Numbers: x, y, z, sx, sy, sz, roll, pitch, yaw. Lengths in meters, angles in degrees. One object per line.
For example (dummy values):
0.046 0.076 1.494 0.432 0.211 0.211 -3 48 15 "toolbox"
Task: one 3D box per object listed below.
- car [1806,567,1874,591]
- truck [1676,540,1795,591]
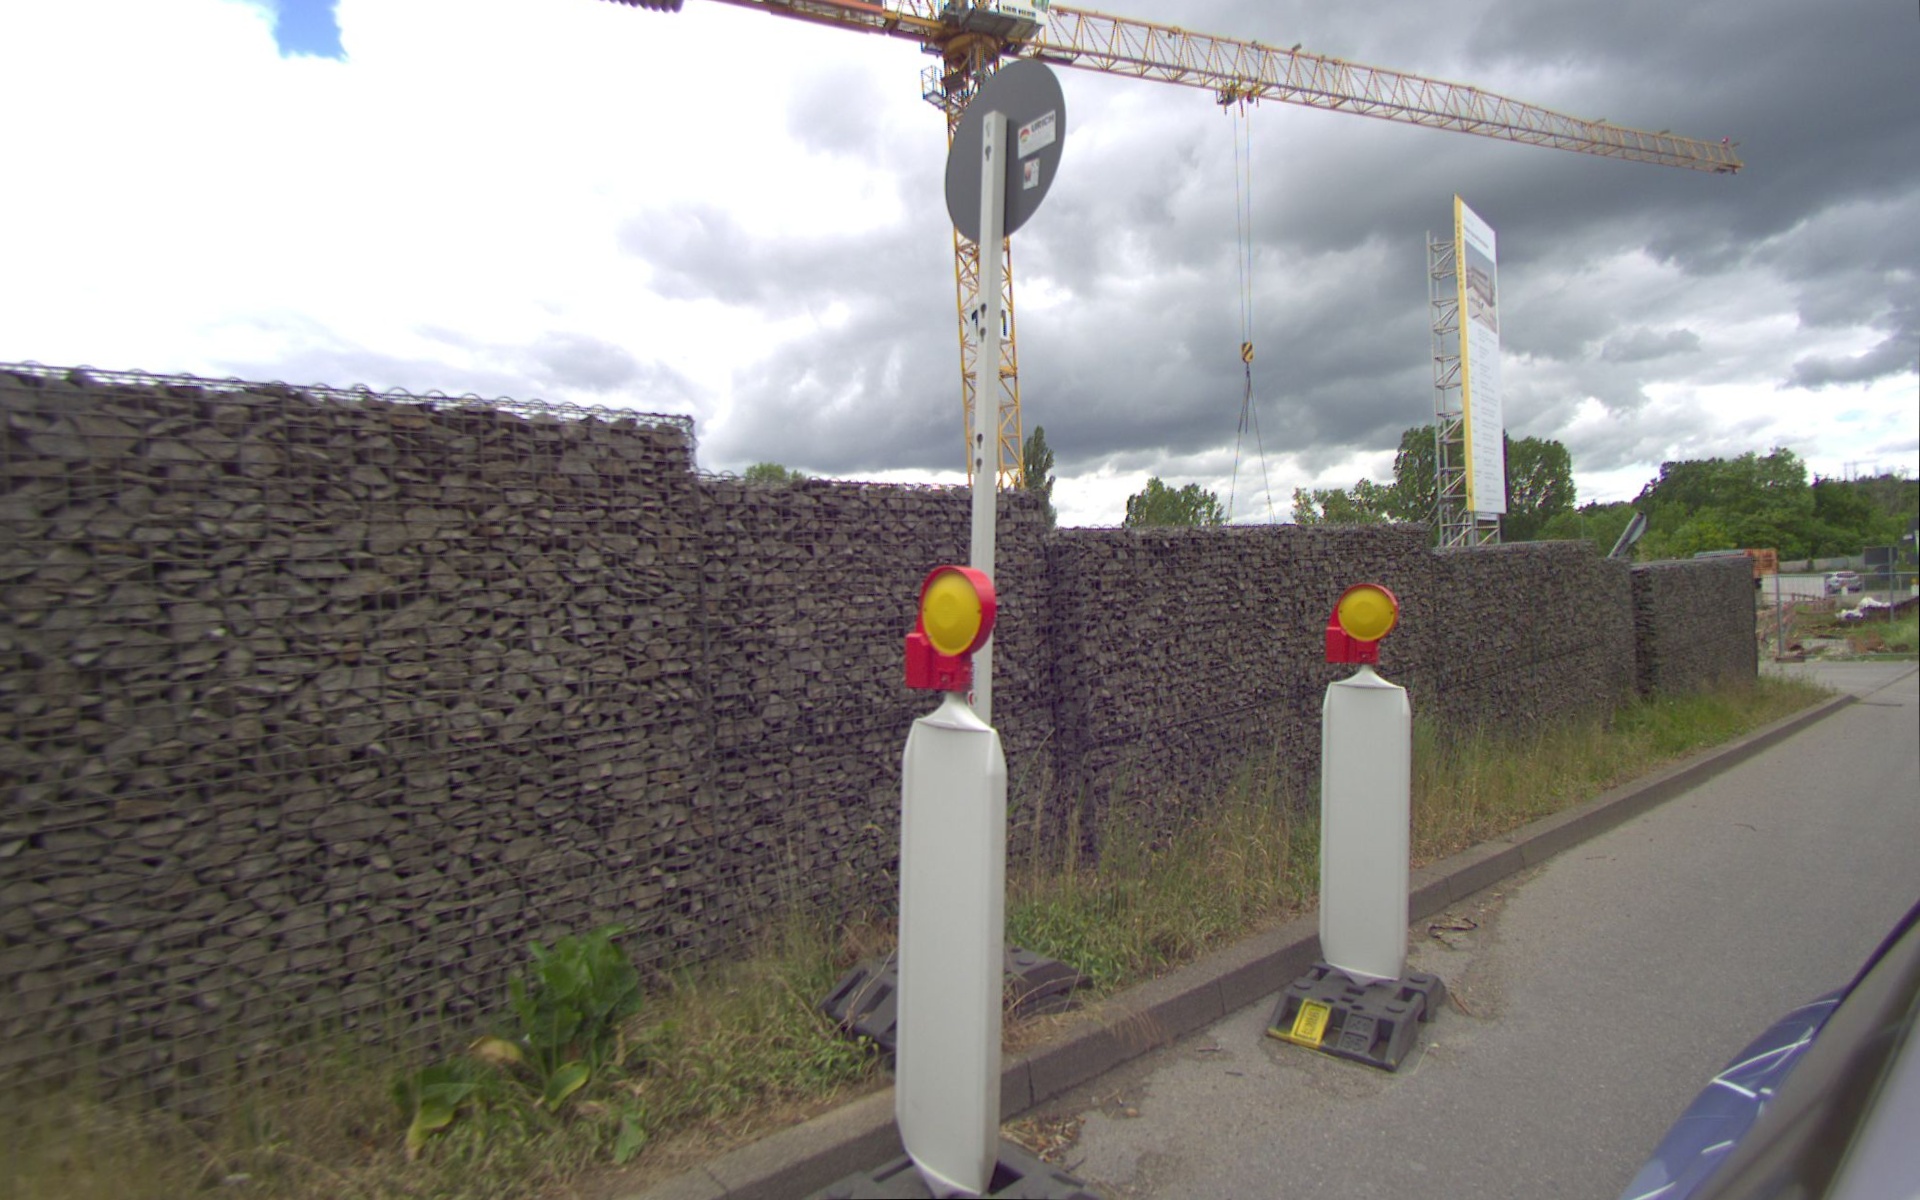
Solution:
65.200 -1.510 75.070 1.864 1.583 4.088 -4 -1 10 "car"
67.490 -2.889 88.448 2.986 3.947 9.992 -3 0 4 "truck"
